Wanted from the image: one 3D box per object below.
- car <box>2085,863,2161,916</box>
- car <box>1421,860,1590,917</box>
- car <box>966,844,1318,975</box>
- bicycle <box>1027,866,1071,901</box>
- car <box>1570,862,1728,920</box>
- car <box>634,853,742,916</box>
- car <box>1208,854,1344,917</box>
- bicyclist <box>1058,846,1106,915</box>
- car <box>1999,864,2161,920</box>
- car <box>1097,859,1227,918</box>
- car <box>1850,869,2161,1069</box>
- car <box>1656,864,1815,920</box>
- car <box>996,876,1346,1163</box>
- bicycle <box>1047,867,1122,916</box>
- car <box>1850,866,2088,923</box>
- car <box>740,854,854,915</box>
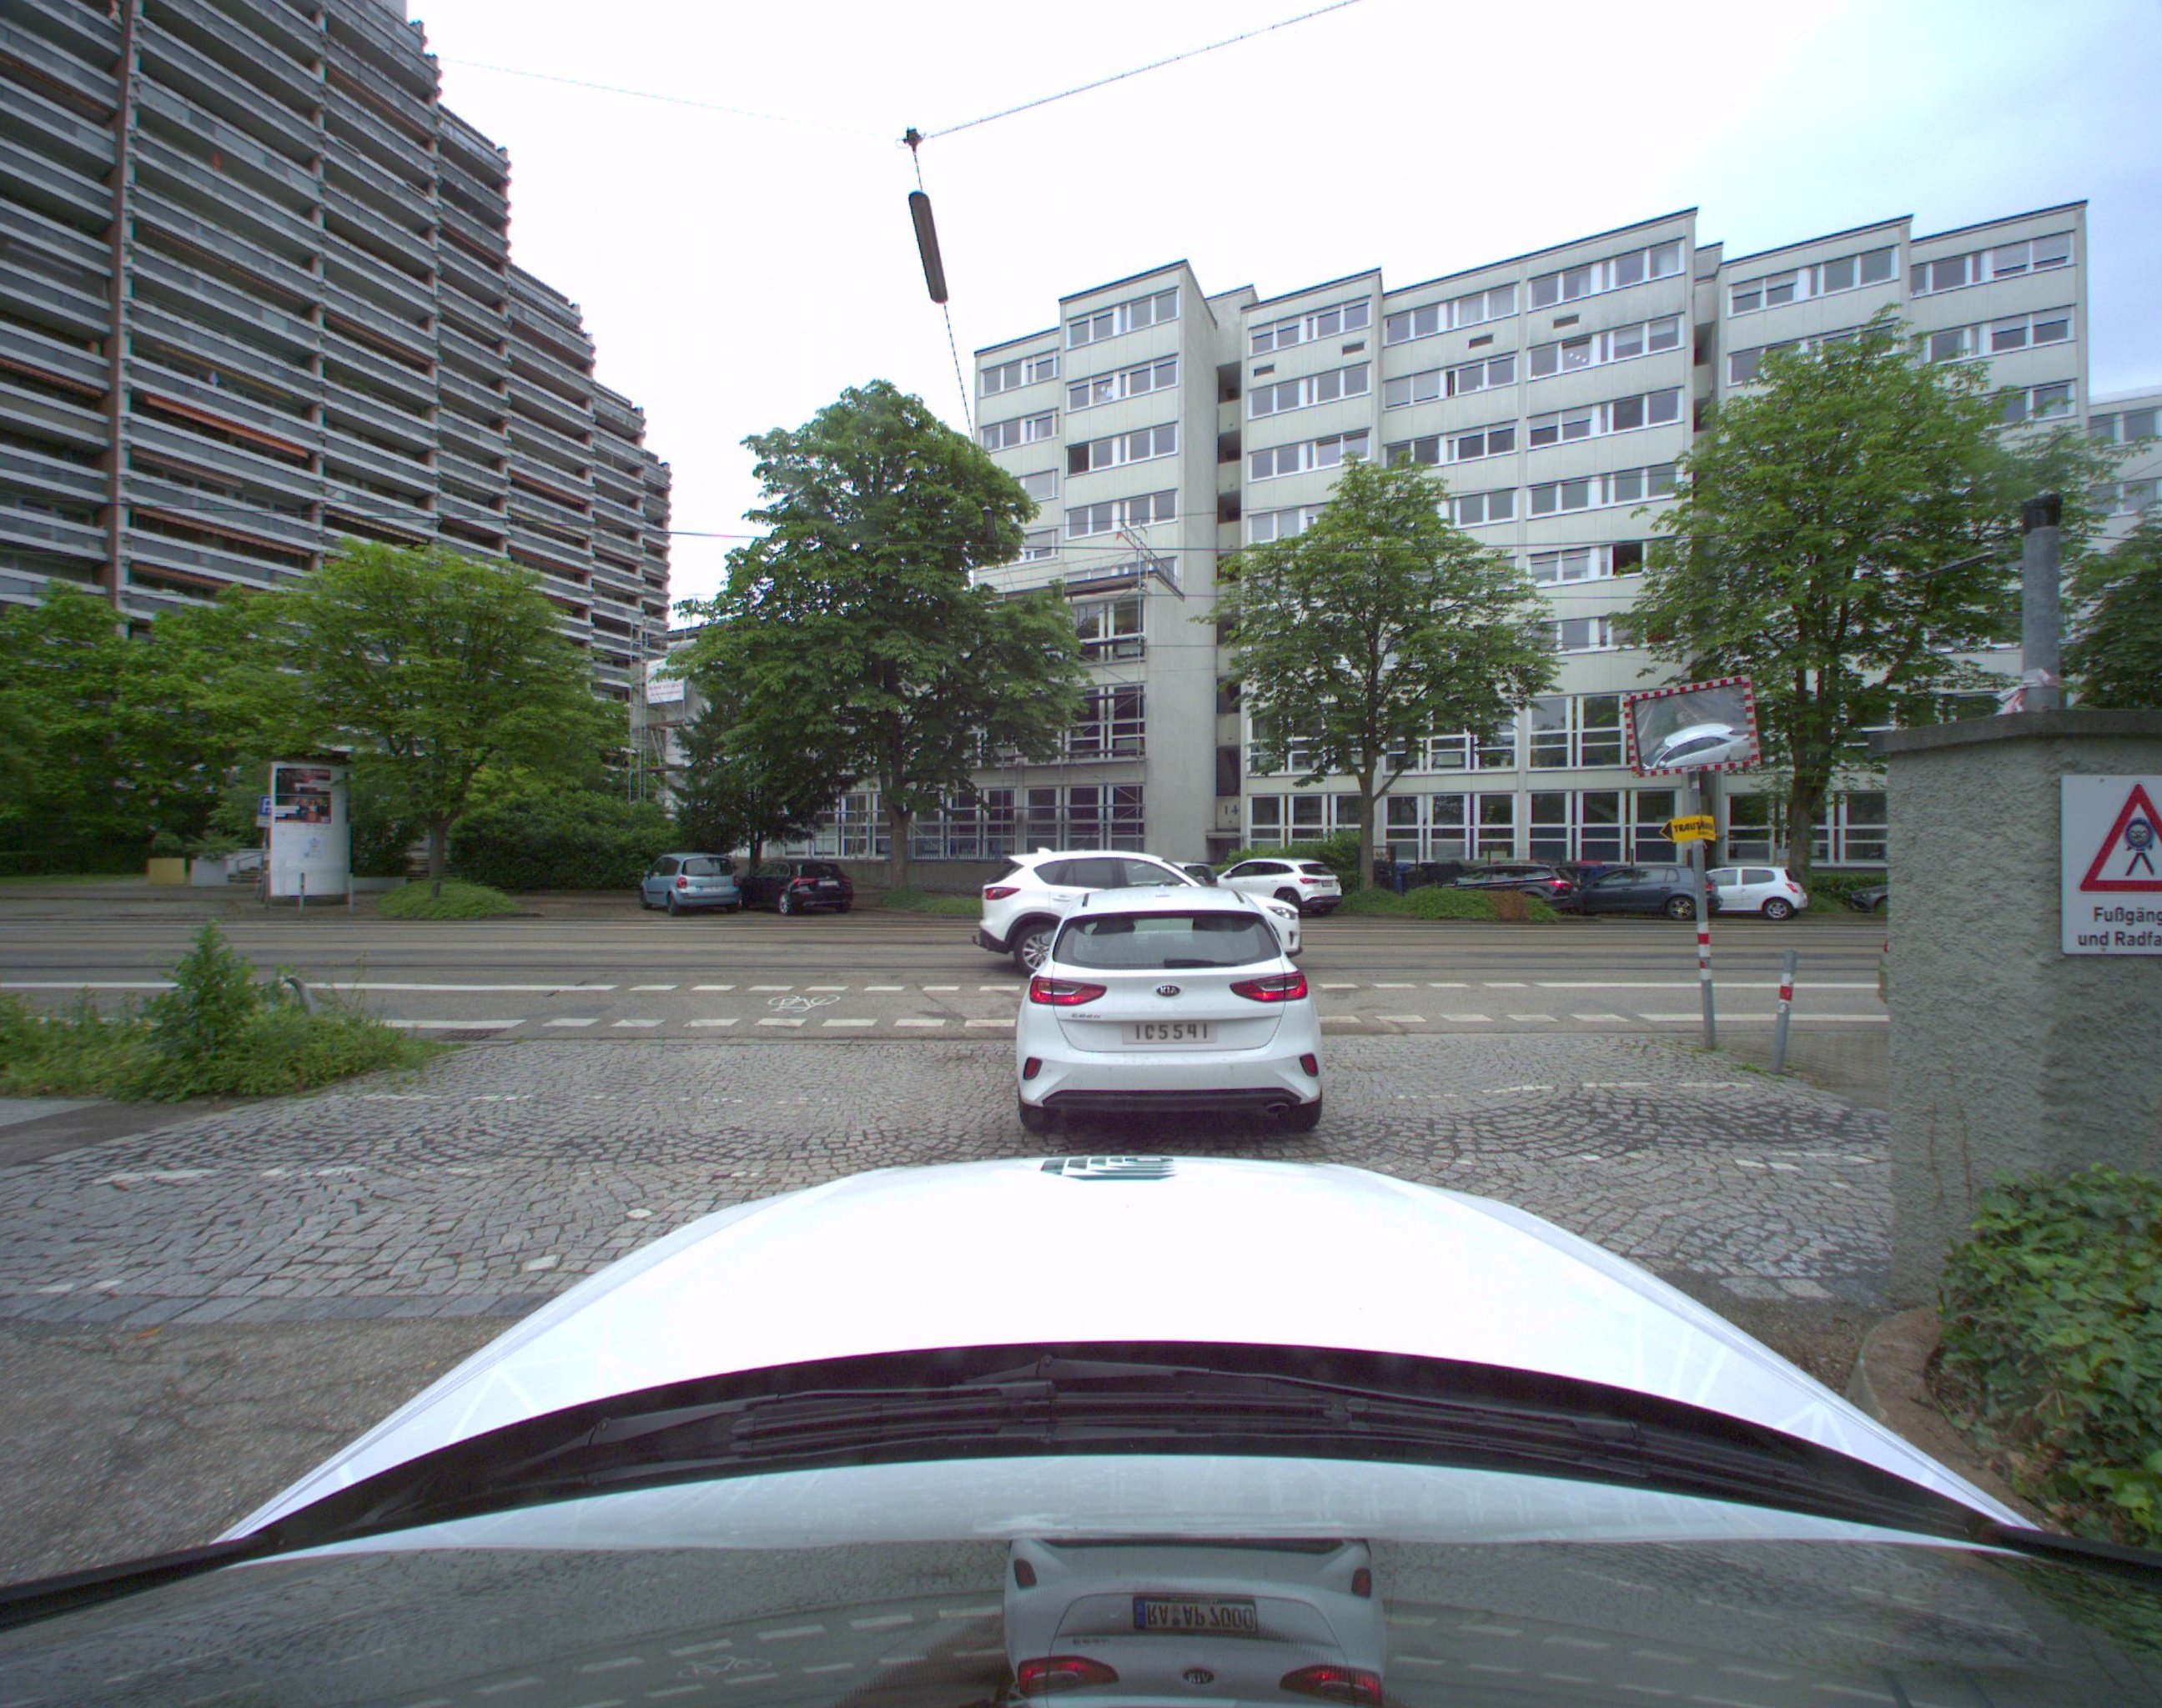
[{"bbox_3d":[31.484,1.007,23.291,1.425,1.474,3.348,0,0,-44],"label":"car"},{"bbox_3d":[11.912,0.920,22.978,3.904,1.474,1.684,-1,-1,42],"label":"car"},{"bbox_3d":[0.797,0.715,11.598,4.572,1.703,1.999,0,1,-1],"label":"car"},{"bbox_3d":[-1.089,1.004,28.635,0.638,1.074,2.325,0,2,22],"label":"bicycle"},{"bbox_3d":[15.525,0.964,22.354,1.425,1.474,3.348,0,-1,-44],"label":"car"},{"bbox_3d":[-10.571,0.760,21.829,1.628,1.537,3.296,0,0,-45],"label":"car"},{"bbox_3d":[5.365,0.830,22.640,1.565,1.618,3.367,0,-1,-42],"label":"car"},{"bbox_3d":[0.019,0.661,20.790,0.839,1.698,0.886,1,-1,-43],"label":"bicyclist"},{"bbox_3d":[28.552,1.033,23.046,1.425,1.474,3.348,0,0,-44],"label":"car"},{"bbox_3d":[2.162,0.887,22.285,1.565,1.473,3.367,0,-1,-42],"label":"car"},{"bbox_3d":[9.214,0.896,7.052,3.570,1.501,1.665,0,0,0],"label":"car"},{"bbox_3d":[18.472,1.023,23.069,1.425,1.474,3.348,0,-1,-44],"label":"car"},{"bbox_3d":[0.618,0.898,6.161,1.767,1.433,3.984,-1,-2,5],"label":"car"},{"bbox_3d":[0.078,0.920,20.738,0.826,1.174,1.892,1,0,-44],"label":"bicycle"},{"bbox_3d":[25.050,1.109,23.258,4.441,1.474,1.425,-1,-3,42],"label":"car"},{"bbox_3d":[-7.654,0.772,21.827,1.628,1.511,3.295,0,-1,-45],"label":"car"}]
